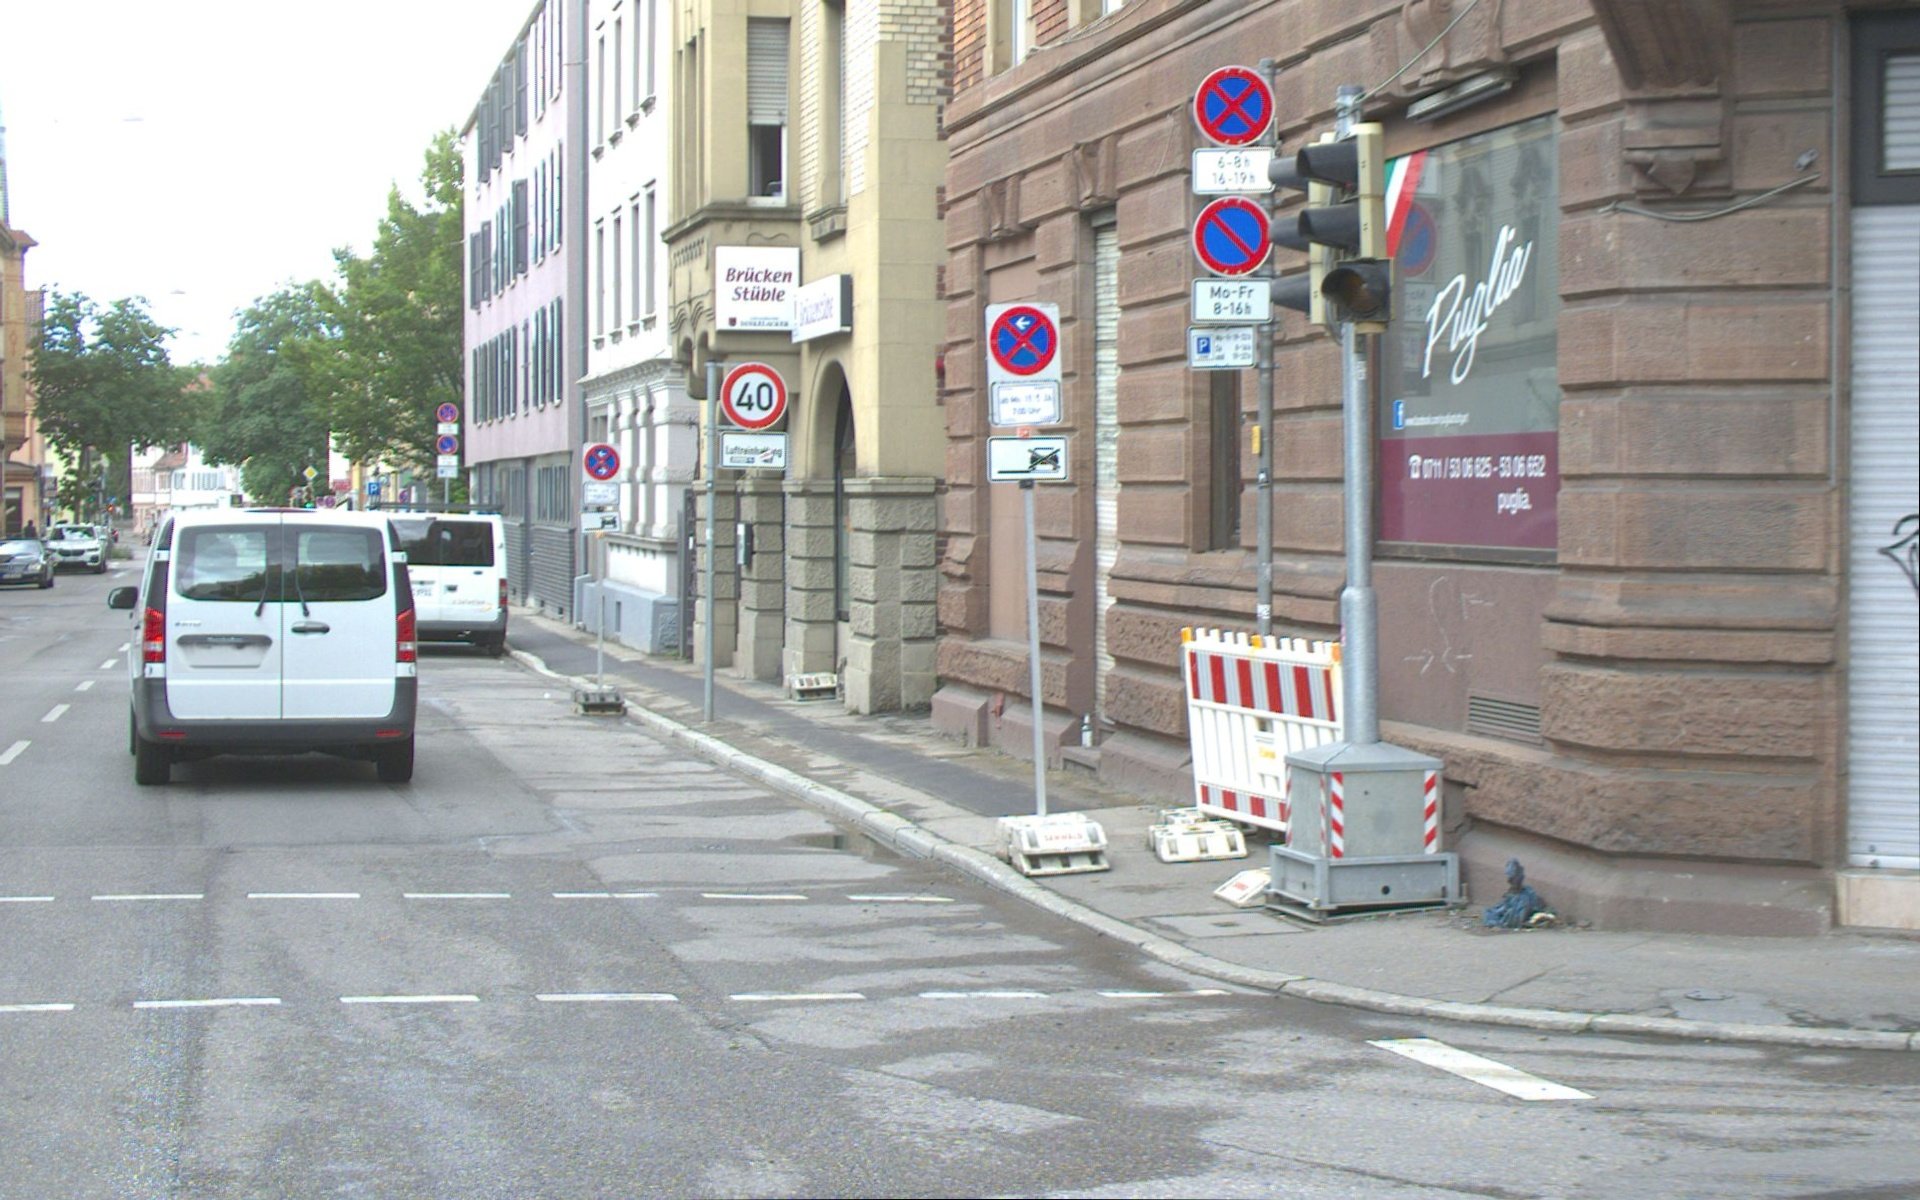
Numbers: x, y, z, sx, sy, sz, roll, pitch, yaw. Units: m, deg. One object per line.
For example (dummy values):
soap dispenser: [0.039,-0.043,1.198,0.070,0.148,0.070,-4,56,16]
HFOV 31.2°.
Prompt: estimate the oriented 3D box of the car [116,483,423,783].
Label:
car: [-5.045,0.197,24.678,1.891,1.922,4.646,-1,0,-14]

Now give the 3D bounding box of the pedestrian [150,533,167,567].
pedestrian: [-36.356,-2.280,155.978,0.624,1.534,0.490,0,0,5]

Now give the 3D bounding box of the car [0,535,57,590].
car: [-25.791,-1.038,93.911,1.993,1.437,4.001,-1,1,-12]

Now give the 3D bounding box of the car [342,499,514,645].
car: [-7.900,-0.431,50.695,2.128,1.998,4.928,1,1,-13]

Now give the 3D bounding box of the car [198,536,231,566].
car: [-43.155,-2.828,199.043,1.753,1.667,3.669,0,-1,-11]

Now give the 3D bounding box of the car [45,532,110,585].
car: [-30.358,-1.444,118.307,1.993,1.735,4.001,2,1,-13]
